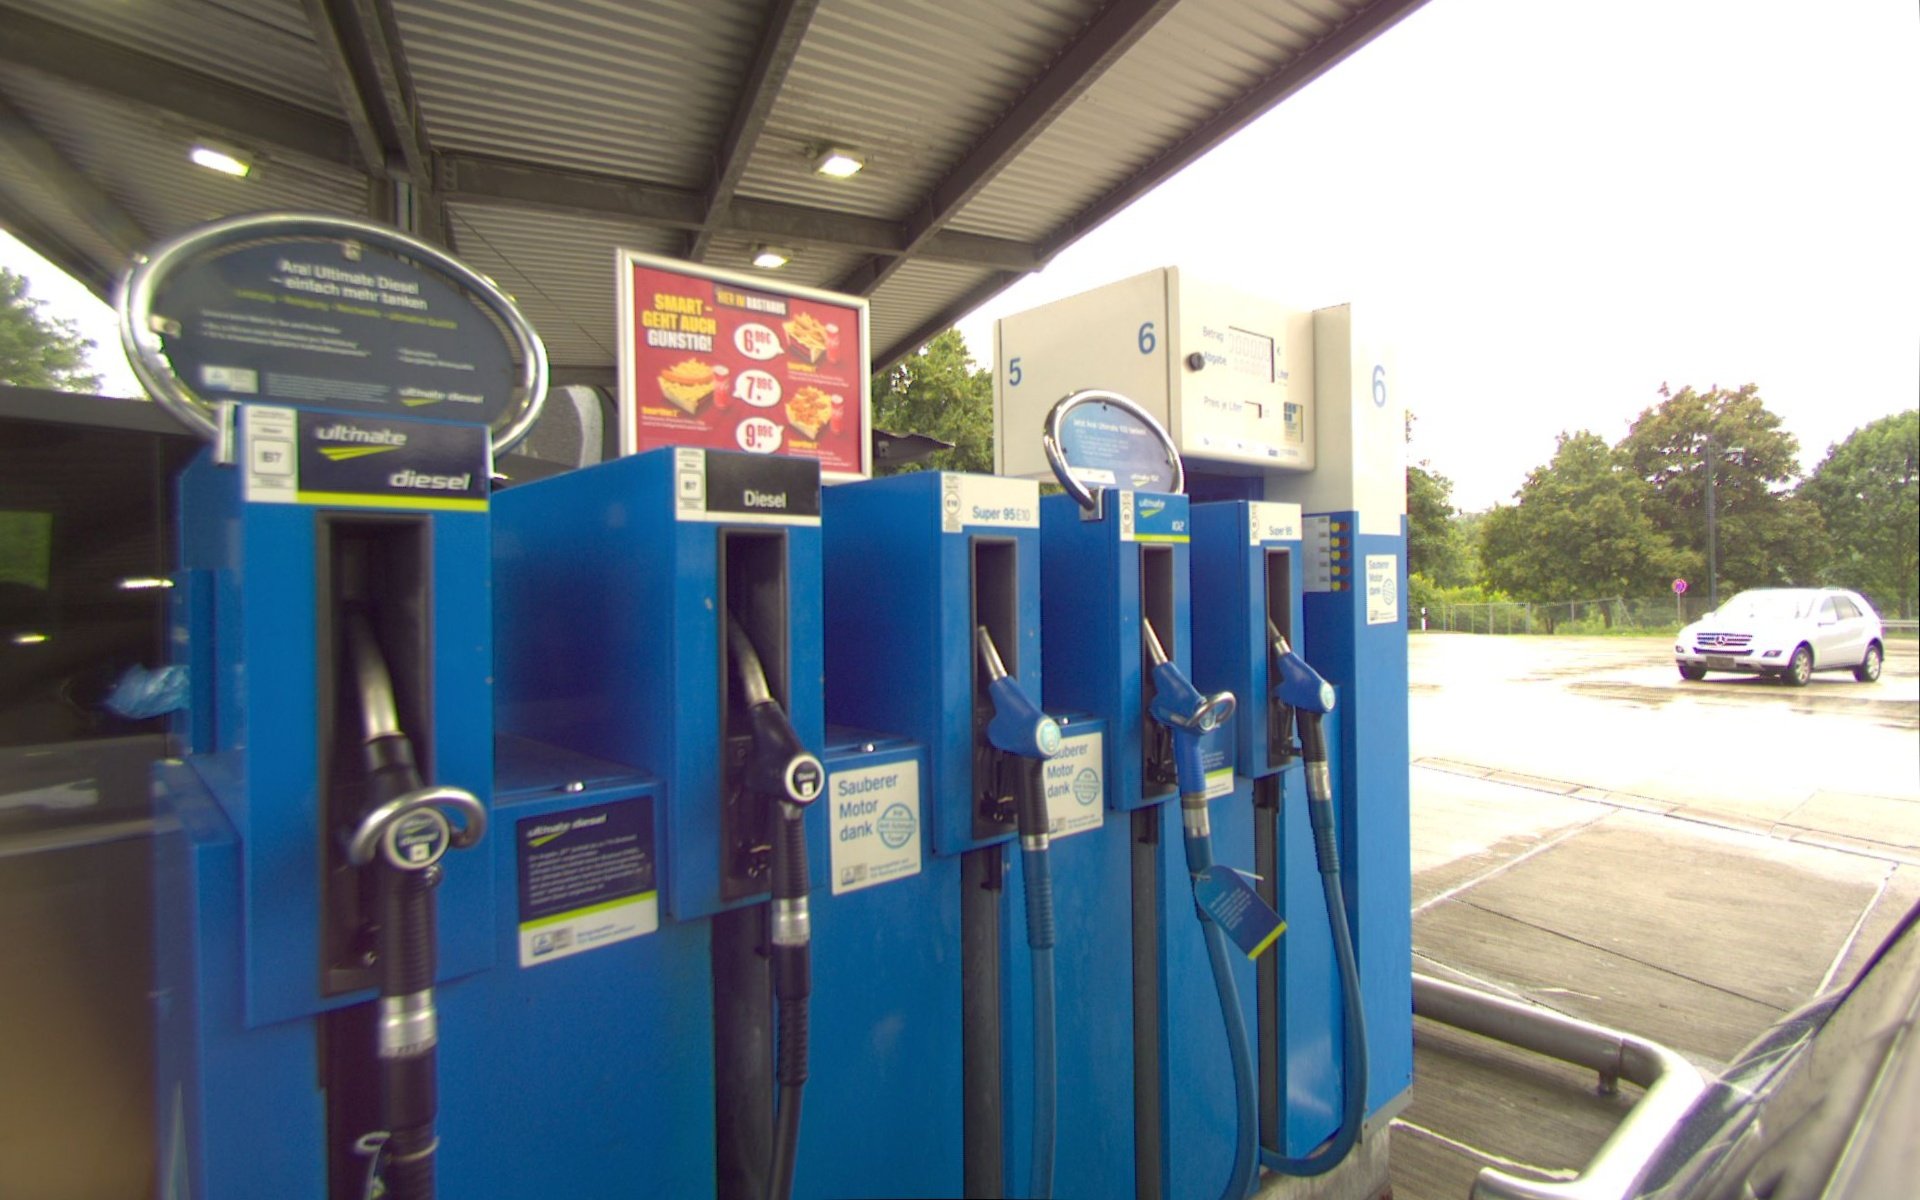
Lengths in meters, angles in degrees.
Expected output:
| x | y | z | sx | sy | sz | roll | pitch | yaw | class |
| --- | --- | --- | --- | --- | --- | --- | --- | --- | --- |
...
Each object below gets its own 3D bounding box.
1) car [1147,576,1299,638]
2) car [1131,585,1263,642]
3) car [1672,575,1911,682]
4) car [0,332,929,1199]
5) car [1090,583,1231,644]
| x | y | z | sx | sy | sz | roll | pitch | yaw | class |
| --- | --- | --- | --- | --- | --- | --- | --- | --- | --- |
| 8.893 | 0.208 | 34.500 | 4.817 | 1.974 | 2.306 | 1 | 1 | 14 | car |
| 7.431 | 0.387 | 31.917 | 3.941 | 1.680 | 1.593 | 1 | 0 | 14 | car |
| 15.693 | 0.506 | 19.064 | 4.446 | 1.821 | 1.870 | 1 | 0 | -27 | car |
| -2.594 | 0.501 | 1.813 | 5.050 | 1.821 | 1.864 | -1 | 0 | -41 | car |
| 5.877 | 0.375 | 29.726 | 3.941 | 1.680 | 1.593 | 1 | 0 | 14 | car |
